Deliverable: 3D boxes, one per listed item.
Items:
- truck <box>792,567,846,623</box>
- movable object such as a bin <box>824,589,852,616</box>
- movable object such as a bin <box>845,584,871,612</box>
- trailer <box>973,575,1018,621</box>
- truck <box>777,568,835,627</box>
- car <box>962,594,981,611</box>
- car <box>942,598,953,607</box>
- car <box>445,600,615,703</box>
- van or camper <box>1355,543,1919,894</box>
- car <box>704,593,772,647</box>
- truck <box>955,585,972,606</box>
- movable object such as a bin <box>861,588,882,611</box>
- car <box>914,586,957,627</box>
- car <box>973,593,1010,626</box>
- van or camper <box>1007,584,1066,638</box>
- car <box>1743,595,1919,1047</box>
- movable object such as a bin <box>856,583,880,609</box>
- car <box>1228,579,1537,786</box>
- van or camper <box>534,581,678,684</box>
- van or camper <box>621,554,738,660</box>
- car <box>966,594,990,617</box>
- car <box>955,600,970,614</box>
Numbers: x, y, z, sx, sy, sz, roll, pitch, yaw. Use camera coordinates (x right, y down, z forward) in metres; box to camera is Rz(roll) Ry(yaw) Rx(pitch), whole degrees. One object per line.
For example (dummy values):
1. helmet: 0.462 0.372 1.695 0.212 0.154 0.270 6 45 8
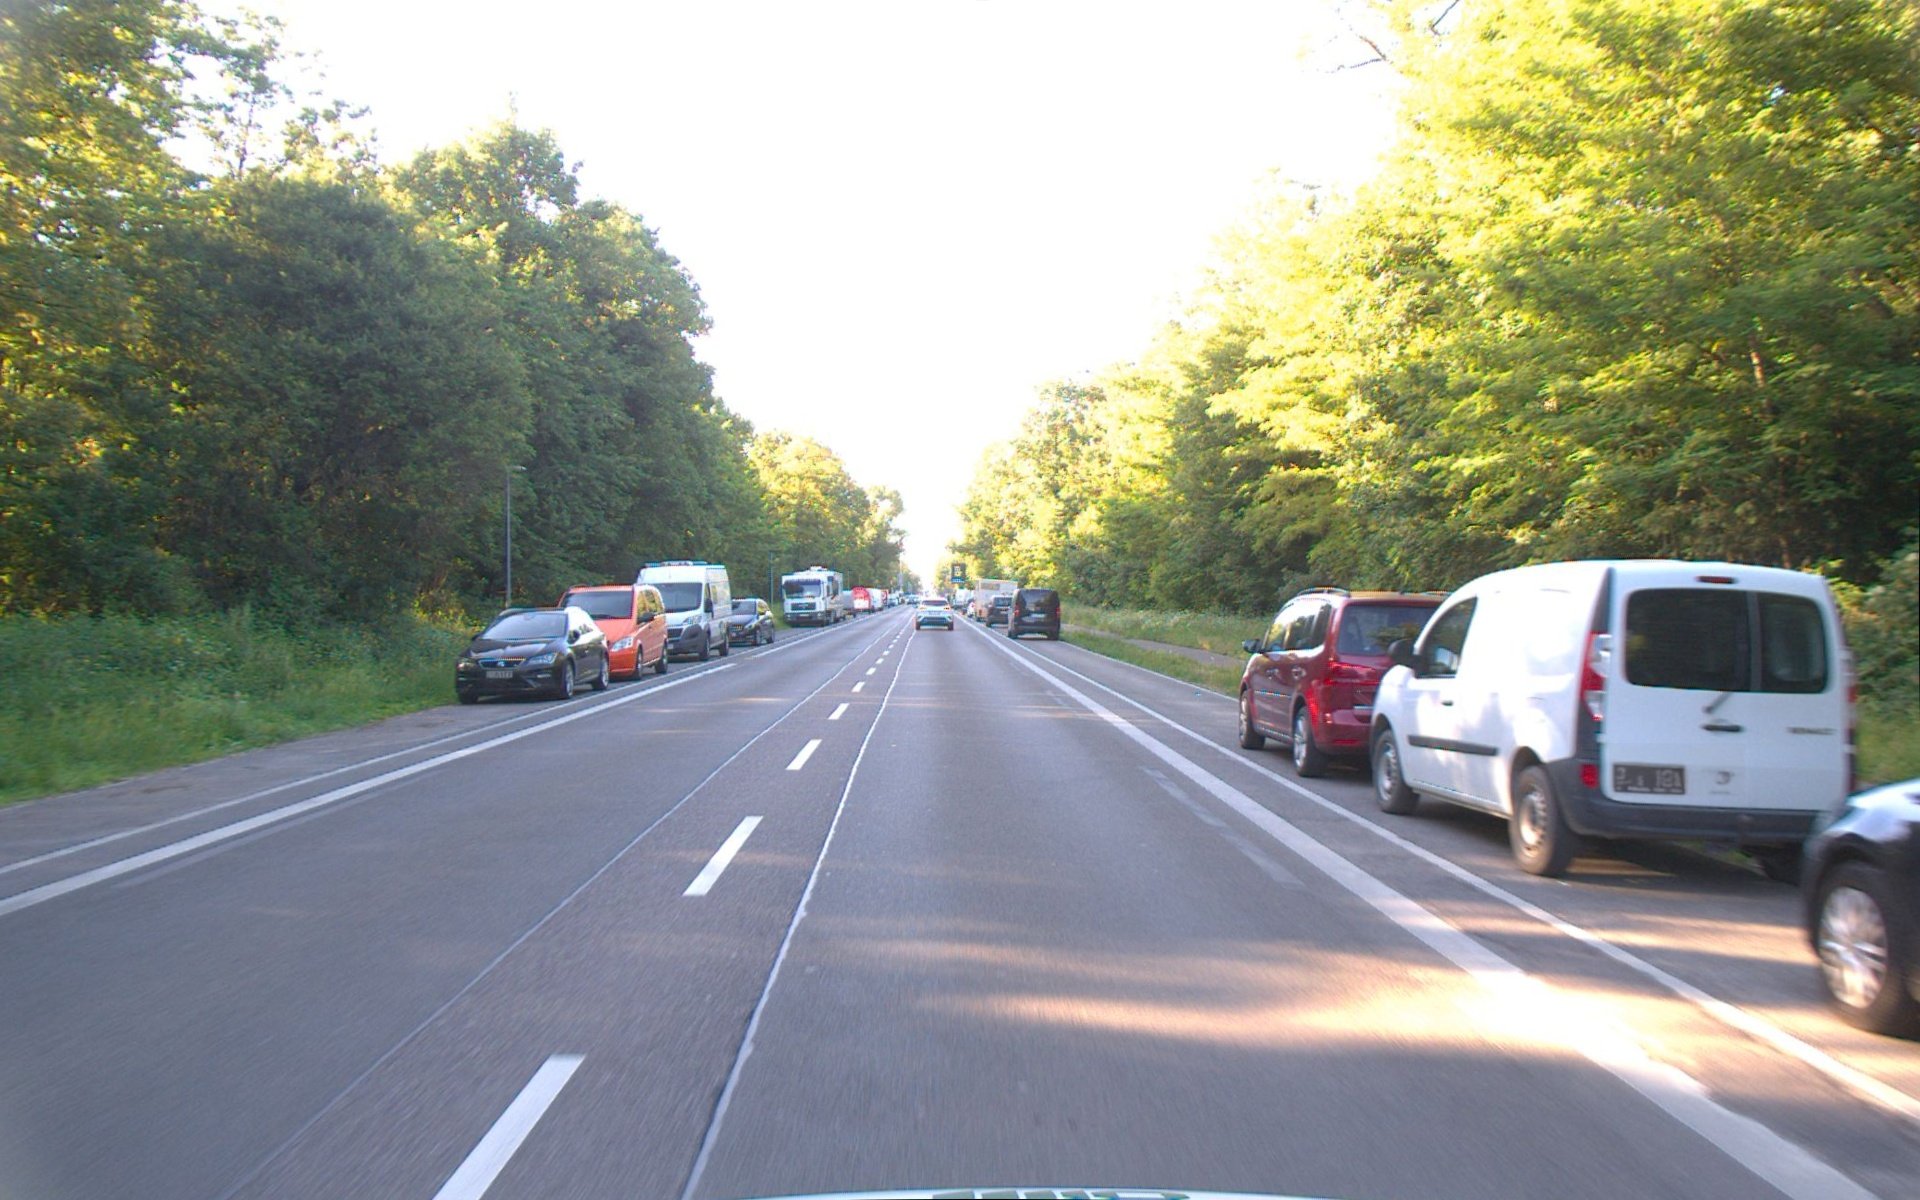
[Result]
1. truck: -8.851 -0.310 104.834 2.652 3.406 10.921 0 0 -1
2. movable object such as a bin: -9.436 0.181 128.012 1.914 2.049 3.999 0 0 -1
3. movable object such as a bin: -9.380 -0.204 152.453 2.275 2.545 3.999 0 0 -1
4. trailer: 2.327 -0.137 109.382 2.701 2.920 6.587 0 0 -1
5. truck: -8.609 -0.133 93.239 2.652 3.148 7.987 0 0 -1
6. car: 1.006 0.196 145.990 1.622 1.504 3.753 0 0 -1
7. car: -1.871 0.374 253.311 1.622 1.504 3.753 0 0 -1
8. car: -6.991 0.788 27.338 1.696 1.504 4.323 -2 0 -1
9. van or camper: 4.201 0.621 10.957 1.912 1.847 4.378 0 0 -3
10. car: -7.522 0.652 56.485 1.745 1.713 4.377 -2 0 -1
11. truck: 0.405 -0.523 200.333 2.054 2.495 5.679 0 0 -1
12. movable object such as a bin: -10.086 -0.072 189.356 2.275 2.545 3.999 0 0 -1
13. car: -1.143 0.266 78.132 1.987 1.872 4.028 0 0 -1
14. car: 1.632 0.495 87.347 1.803 1.691 3.999 1 0 -1
15. van or camper: 2.941 0.406 64.608 1.953 1.966 5.198 1 0 -1
16. car: 4.154 0.785 4.871 1.656 1.551 4.148 1 0 -1
17. movable object such as a bin: -9.301 -0.429 167.019 2.275 2.545 3.999 0 0 -1
18. car: 3.904 0.688 16.074 1.797 1.689 4.337 2 0 -1
19. van or camper: -7.103 0.607 33.667 1.884 1.899 4.862 -2 0 -1
20. van or camper: -7.409 0.164 44.433 2.077 2.617 6.541 -1 0 -1
21. car: 1.368 0.386 125.362 1.697 1.713 3.999 0 0 -1
22. car: 0.259 0.768 176.475 1.622 1.504 3.753 0 0 -1
